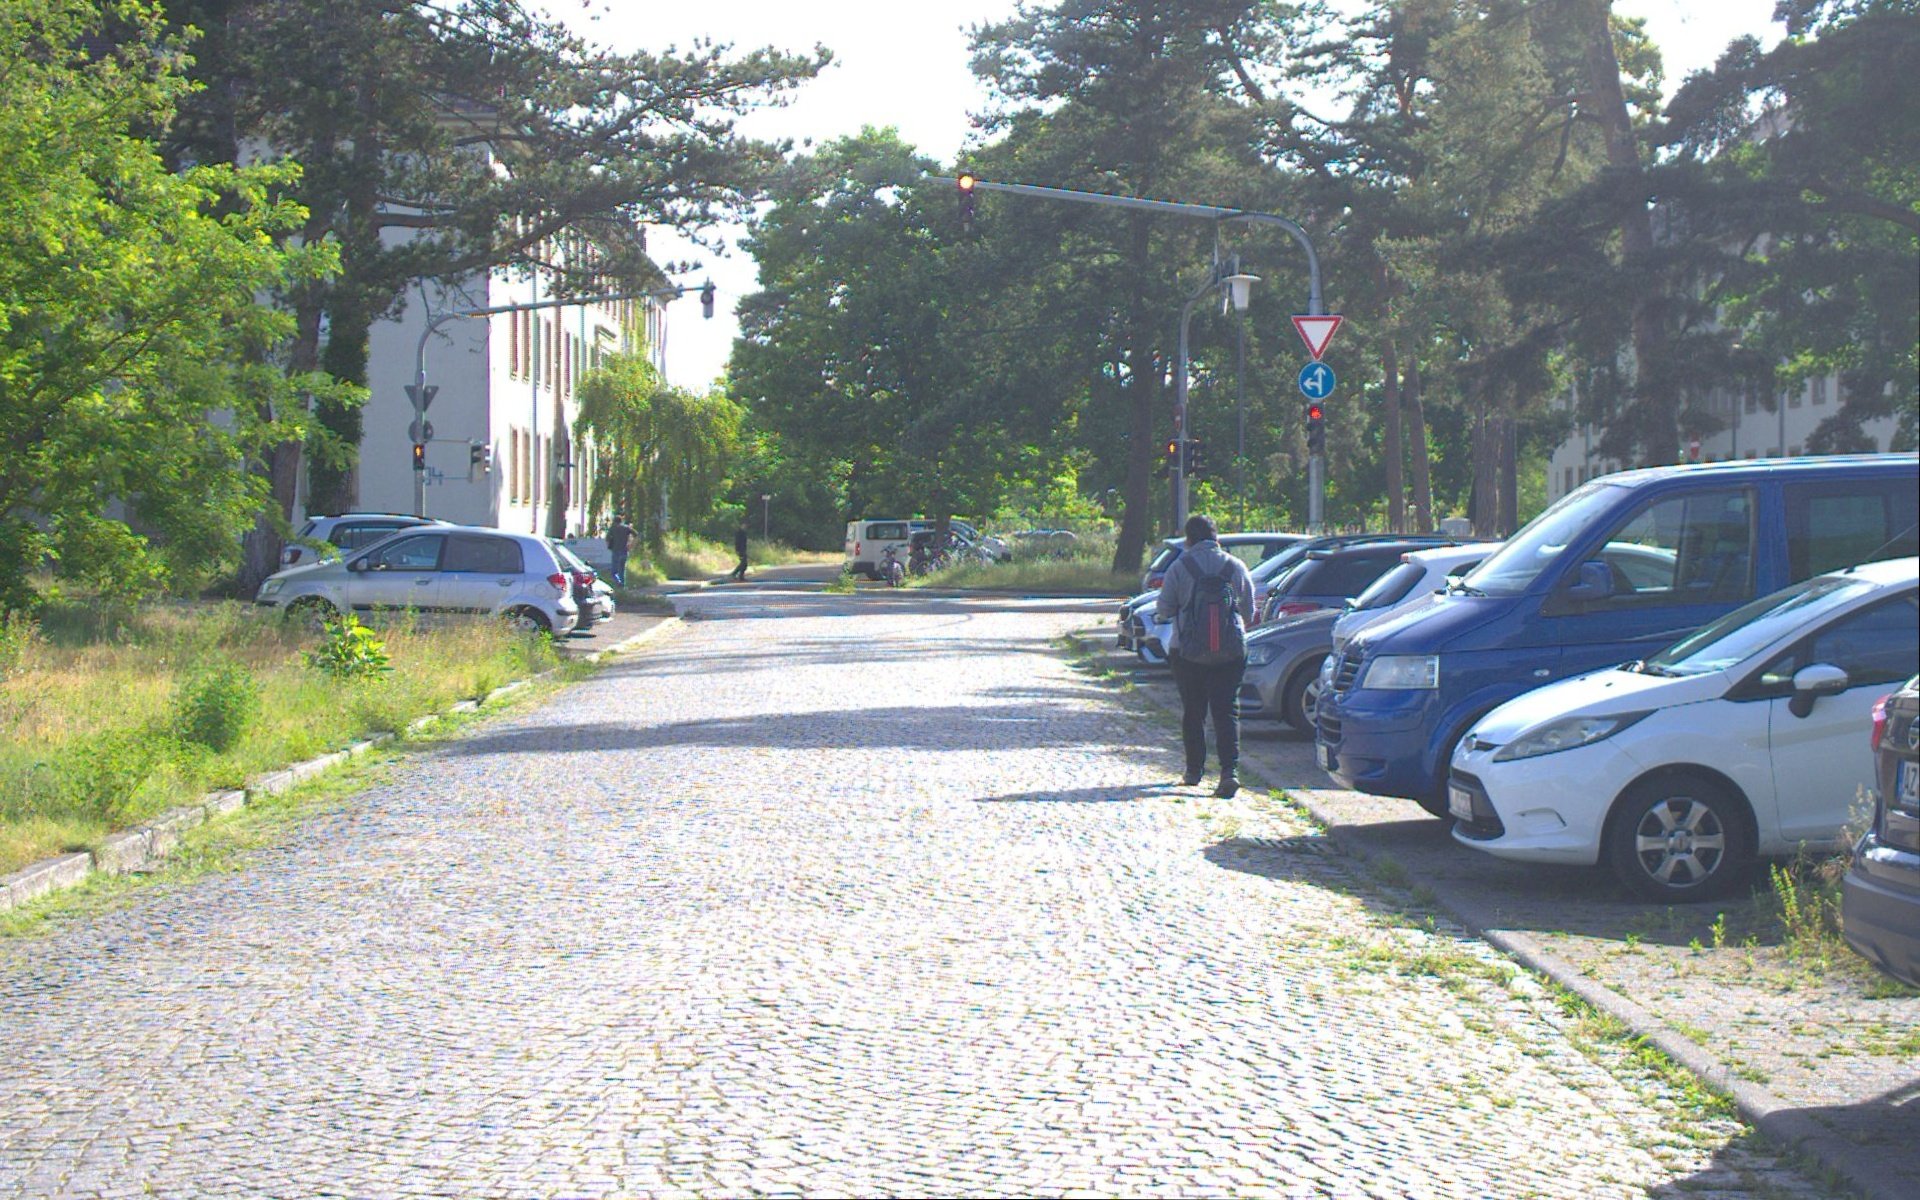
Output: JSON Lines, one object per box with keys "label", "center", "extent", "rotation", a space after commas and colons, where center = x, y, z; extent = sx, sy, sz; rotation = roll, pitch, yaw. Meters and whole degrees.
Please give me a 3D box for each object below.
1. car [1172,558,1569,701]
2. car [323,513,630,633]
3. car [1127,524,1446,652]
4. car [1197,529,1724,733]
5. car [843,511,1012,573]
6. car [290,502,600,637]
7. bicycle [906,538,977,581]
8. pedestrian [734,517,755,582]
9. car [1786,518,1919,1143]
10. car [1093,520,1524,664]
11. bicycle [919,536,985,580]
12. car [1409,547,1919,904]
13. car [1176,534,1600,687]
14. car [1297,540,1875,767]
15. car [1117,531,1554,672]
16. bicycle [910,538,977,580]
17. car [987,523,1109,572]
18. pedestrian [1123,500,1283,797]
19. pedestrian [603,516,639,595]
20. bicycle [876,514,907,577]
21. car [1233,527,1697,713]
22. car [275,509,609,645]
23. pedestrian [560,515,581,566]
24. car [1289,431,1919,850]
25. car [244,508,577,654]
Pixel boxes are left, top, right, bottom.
{"label": "car", "center": [3.751, 0.256, 31.798], "extent": [3.460, 1.238, 1.536], "rotation": [1, 1, 0]}
{"label": "car", "center": [-6.844, -0.401, 48.881], "extent": [3.987, 1.491, 1.772], "rotation": [3, 1, 4]}
{"label": "car", "center": [3.932, -0.161, 41.782], "extent": [3.673, 1.438, 1.665], "rotation": [-1, 1, -1]}
{"label": "car", "center": [3.765, 0.212, 26.329], "extent": [3.781, 1.445, 1.758], "rotation": [-1, 1, 1]}
{"label": "car", "center": [-1.037, -1.842, 108.611], "extent": [5.065, 1.911, 2.001], "rotation": [0, 1, -10]}
{"label": "car", "center": [-6.869, -0.423, 46.137], "extent": [3.879, 1.610, 1.661], "rotation": [3, 1, -2]}
{"label": "bicycle", "center": [-0.494, -1.074, 90.684], "extent": [1.834, 1.108, 0.495], "rotation": [0, 1, -4]}
{"label": "pedestrian", "center": [-6.667, -1.576, 106.404], "extent": [0.594, 2.007, 0.573], "rotation": [0, 1, -1]}
{"label": "car", "center": [4.503, 0.579, 9.225], "extent": [4.106, 1.605, 1.786], "rotation": [0, 1, -2]}
{"label": "car", "center": [3.926, -0.110, 39.243], "extent": [4.619, 1.450, 1.870], "rotation": [-2, 1, -3]}
{"label": "bicycle", "center": [-0.213, -1.132, 91.912], "extent": [1.727, 1.160, 0.561], "rotation": [0, 1, -4]}
{"label": "car", "center": [4.031, 0.510, 15.531], "extent": [3.719, 1.462, 1.610], "rotation": [-1, 1, -3]}
{"label": "car", "center": [4.208, 0.084, 34.189], "extent": [3.979, 1.443, 1.656], "rotation": [0, 1, -1]}
{"label": "car", "center": [4.216, 0.338, 23.523], "extent": [3.645, 1.487, 1.634], "rotation": [0, 1, 0]}
{"label": "car", "center": [3.950, -0.004, 36.604], "extent": [4.399, 1.384, 1.789], "rotation": [-1, 1, -2]}
{"label": "bicycle", "center": [-0.436, -1.084, 91.229], "extent": [1.727, 1.108, 0.484], "rotation": [0, 1, -4]}
{"label": "car", "center": [2.859, -1.724, 112.535], "extent": [3.743, 1.574, 1.742], "rotation": [0, 1, -8]}
{"label": "pedestrian", "center": [1.475, 0.281, 20.988], "extent": [0.753, 1.719, 0.828], "rotation": [5, 1, -1]}
{"label": "pedestrian", "center": [-7.498, -0.990, 76.030], "extent": [0.606, 1.746, 0.630], "rotation": [0, 1, -22]}
{"label": "bicycle", "center": [-1.748, -1.399, 87.465], "extent": [0.753, 1.575, 2.537], "rotation": [1, 1, -2]}
{"label": "car", "center": [4.247, 0.147, 29.287], "extent": [3.663, 1.450, 1.667], "rotation": [-1, 1, -1]}
{"label": "car", "center": [-6.513, -0.303, 43.499], "extent": [3.937, 1.440, 1.691], "rotation": [4, 1, -2]}
{"label": "pedestrian", "center": [-11.846, -1.818, 104.521], "extent": [0.606, 1.554, 0.545], "rotation": [0, 1, -7]}
{"label": "car", "center": [4.241, 0.154, 18.154], "extent": [4.754, 2.007, 2.000], "rotation": [-2, 1, 0]}
{"label": "car", "center": [-6.483, -0.240, 40.833], "extent": [3.685, 1.522, 1.699], "rotation": [3, 1, -3]}
